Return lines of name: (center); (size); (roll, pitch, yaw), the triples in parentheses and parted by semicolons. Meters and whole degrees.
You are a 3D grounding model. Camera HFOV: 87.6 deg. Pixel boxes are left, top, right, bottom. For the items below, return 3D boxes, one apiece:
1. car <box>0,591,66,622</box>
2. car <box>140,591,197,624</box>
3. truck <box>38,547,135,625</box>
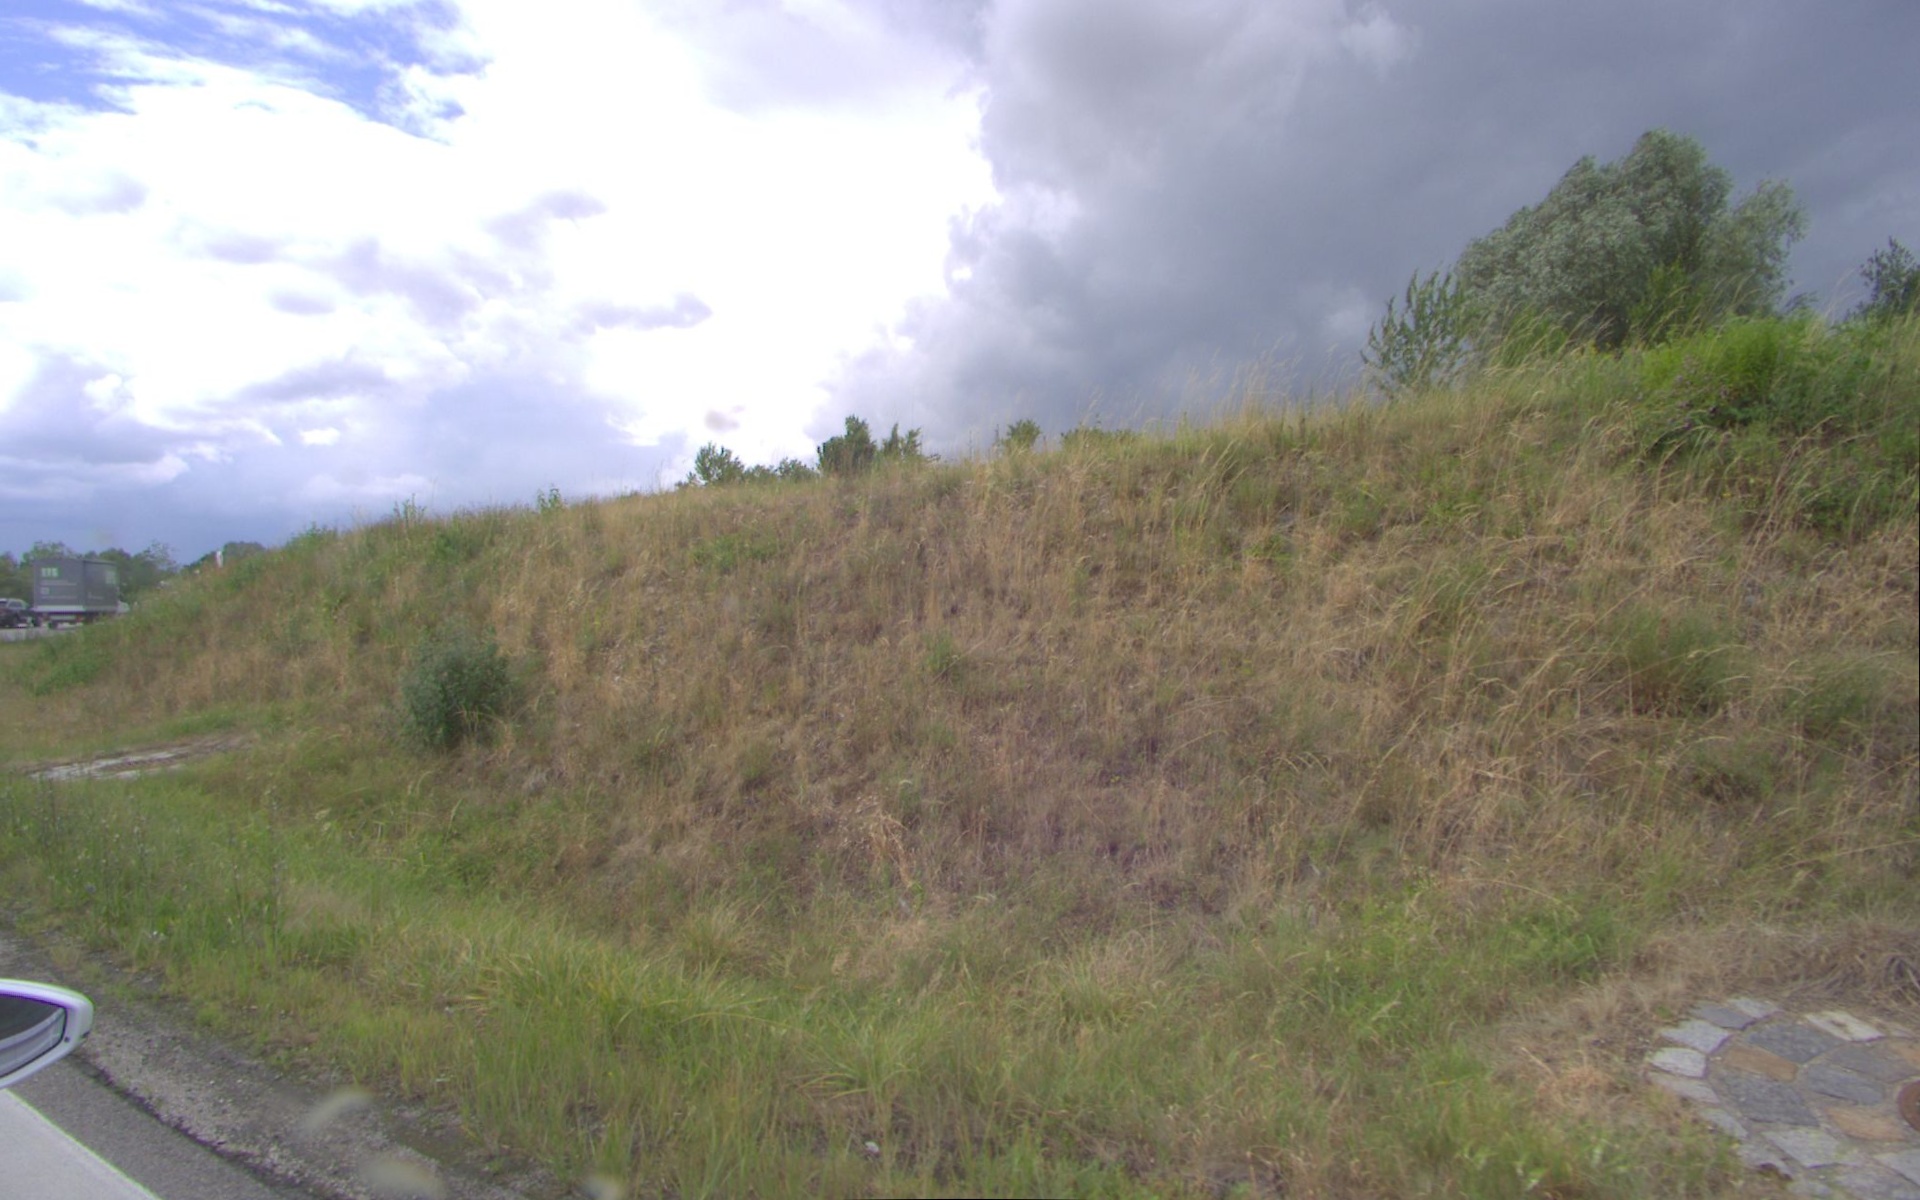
car: (-50.514, 0.398, 54.286); (1.772, 1.575, 3.950); (0, -1, -22)
car: (-51.778, 0.498, 65.598); (1.968, 2.039, 3.988); (0, -2, -23)
truck: (-47.705, -0.663, 54.848); (2.199, 3.956, 5.999); (0, -2, -23)
